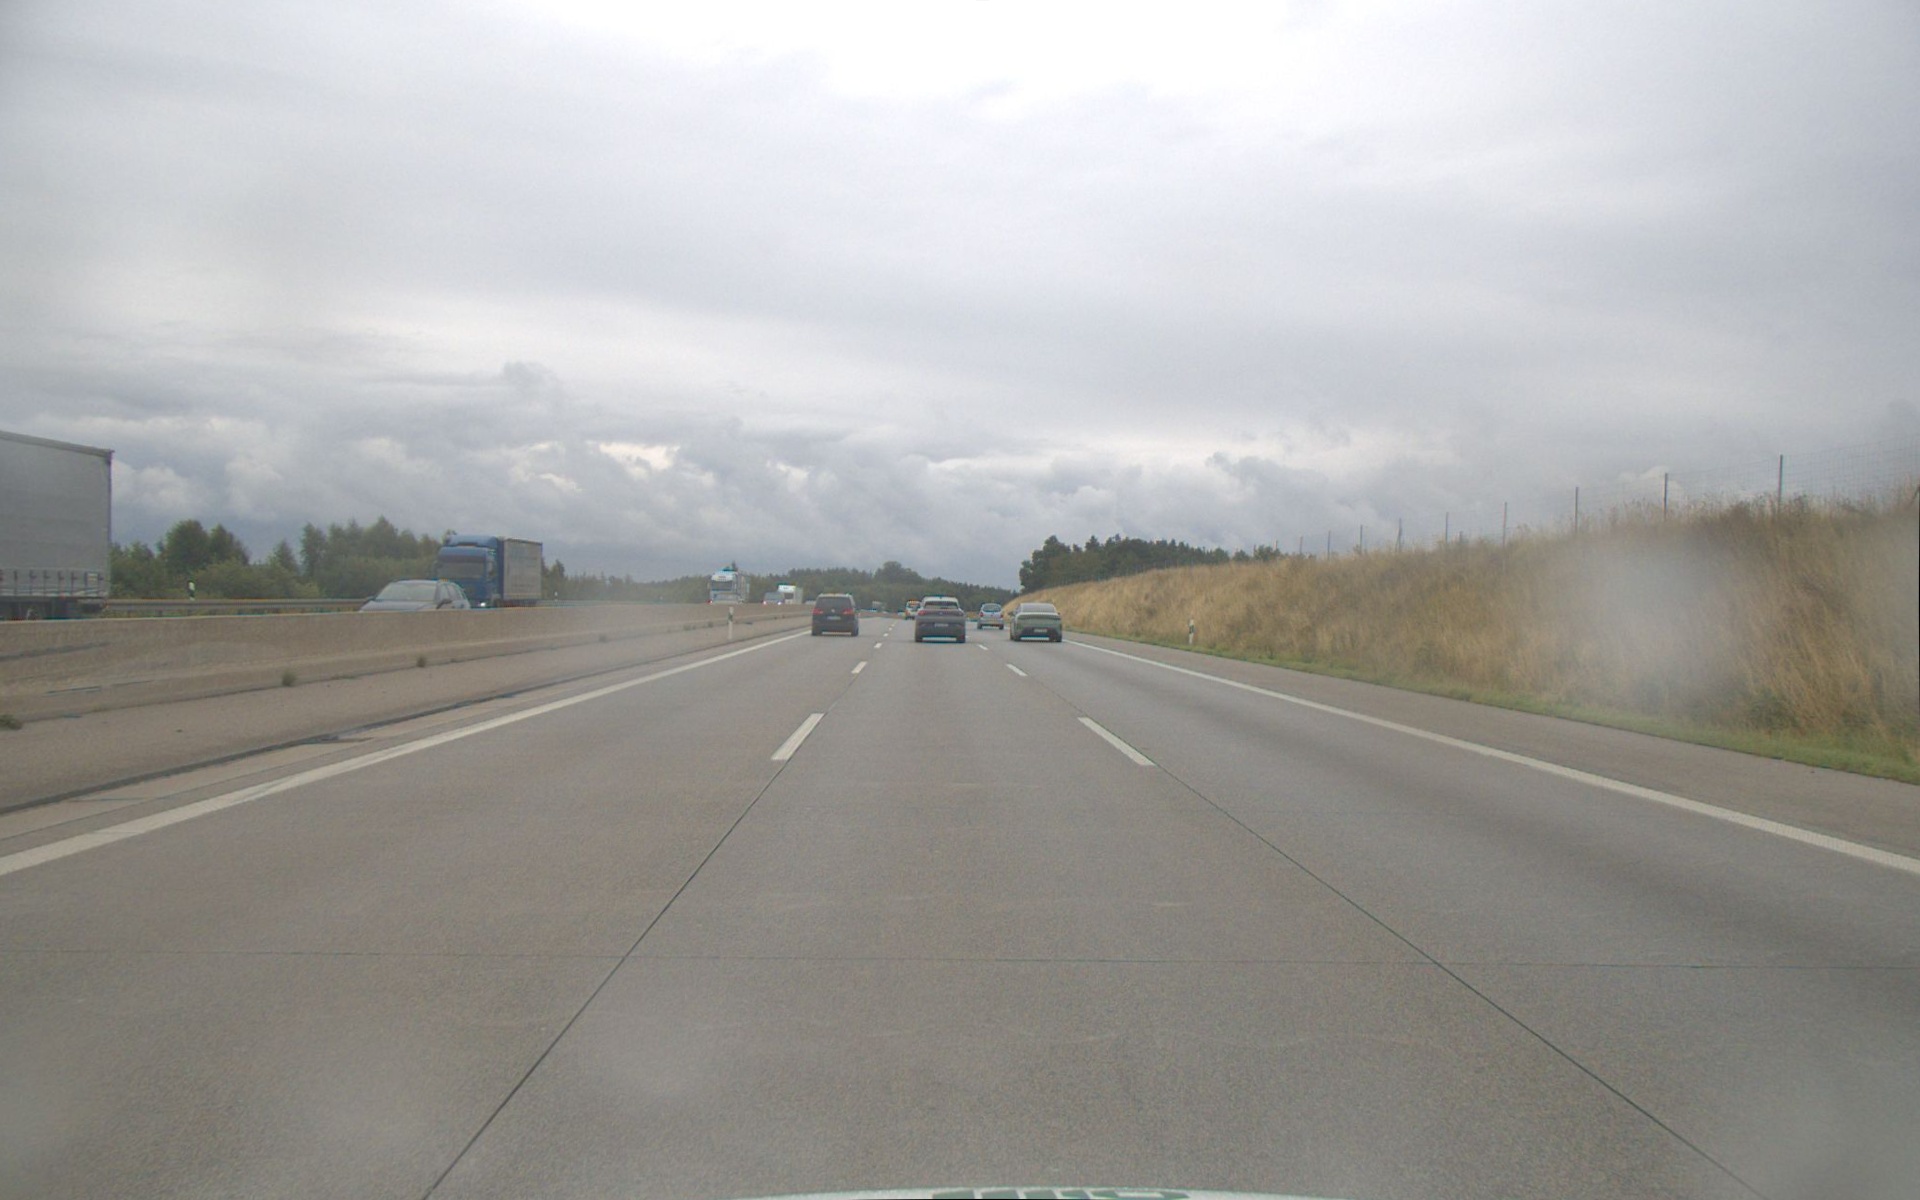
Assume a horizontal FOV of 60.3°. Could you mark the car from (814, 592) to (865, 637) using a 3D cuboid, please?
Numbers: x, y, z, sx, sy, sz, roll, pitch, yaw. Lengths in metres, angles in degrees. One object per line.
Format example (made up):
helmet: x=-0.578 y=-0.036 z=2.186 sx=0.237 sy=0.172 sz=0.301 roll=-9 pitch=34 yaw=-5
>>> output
car: x=-4.931 y=0.577 z=67.885 sx=1.748 sy=1.777 sz=3.915 roll=1 pitch=0 yaw=0

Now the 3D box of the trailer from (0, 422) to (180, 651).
trailer: x=-19.682 y=-1.214 z=31.675 sx=3.412 sy=4.275 sz=12.926 roll=1 pitch=0 yaw=-1

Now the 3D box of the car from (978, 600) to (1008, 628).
car: x=1.922 y=0.806 z=96.825 sx=1.456 sy=1.496 sz=3.503 roll=4 pitch=0 yaw=-2

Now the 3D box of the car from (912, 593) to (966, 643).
car: x=-0.742 y=0.637 z=61.052 sx=1.859 sy=1.719 sz=5.266 roll=1 pitch=0 yaw=0

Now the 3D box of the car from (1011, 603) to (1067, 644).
car: x=3.035 y=0.873 z=64.689 sx=1.973 sy=1.471 sz=4.745 roll=1 pitch=0 yaw=0

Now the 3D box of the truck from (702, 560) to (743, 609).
truck: x=-24.316 y=-1.616 z=169.753 sx=3.515 sy=4.903 sz=5.866 roll=1 pitch=0 yaw=-2

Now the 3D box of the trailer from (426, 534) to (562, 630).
trailer: x=-20.620 y=-0.789 z=74.092 sx=2.792 sy=3.904 sz=12.396 roll=1 pitch=0 yaw=-1

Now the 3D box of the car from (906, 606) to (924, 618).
car: x=-4.887 y=1.313 z=180.153 sx=1.760 sy=1.243 sz=4.001 roll=1 pitch=0 yaw=2
